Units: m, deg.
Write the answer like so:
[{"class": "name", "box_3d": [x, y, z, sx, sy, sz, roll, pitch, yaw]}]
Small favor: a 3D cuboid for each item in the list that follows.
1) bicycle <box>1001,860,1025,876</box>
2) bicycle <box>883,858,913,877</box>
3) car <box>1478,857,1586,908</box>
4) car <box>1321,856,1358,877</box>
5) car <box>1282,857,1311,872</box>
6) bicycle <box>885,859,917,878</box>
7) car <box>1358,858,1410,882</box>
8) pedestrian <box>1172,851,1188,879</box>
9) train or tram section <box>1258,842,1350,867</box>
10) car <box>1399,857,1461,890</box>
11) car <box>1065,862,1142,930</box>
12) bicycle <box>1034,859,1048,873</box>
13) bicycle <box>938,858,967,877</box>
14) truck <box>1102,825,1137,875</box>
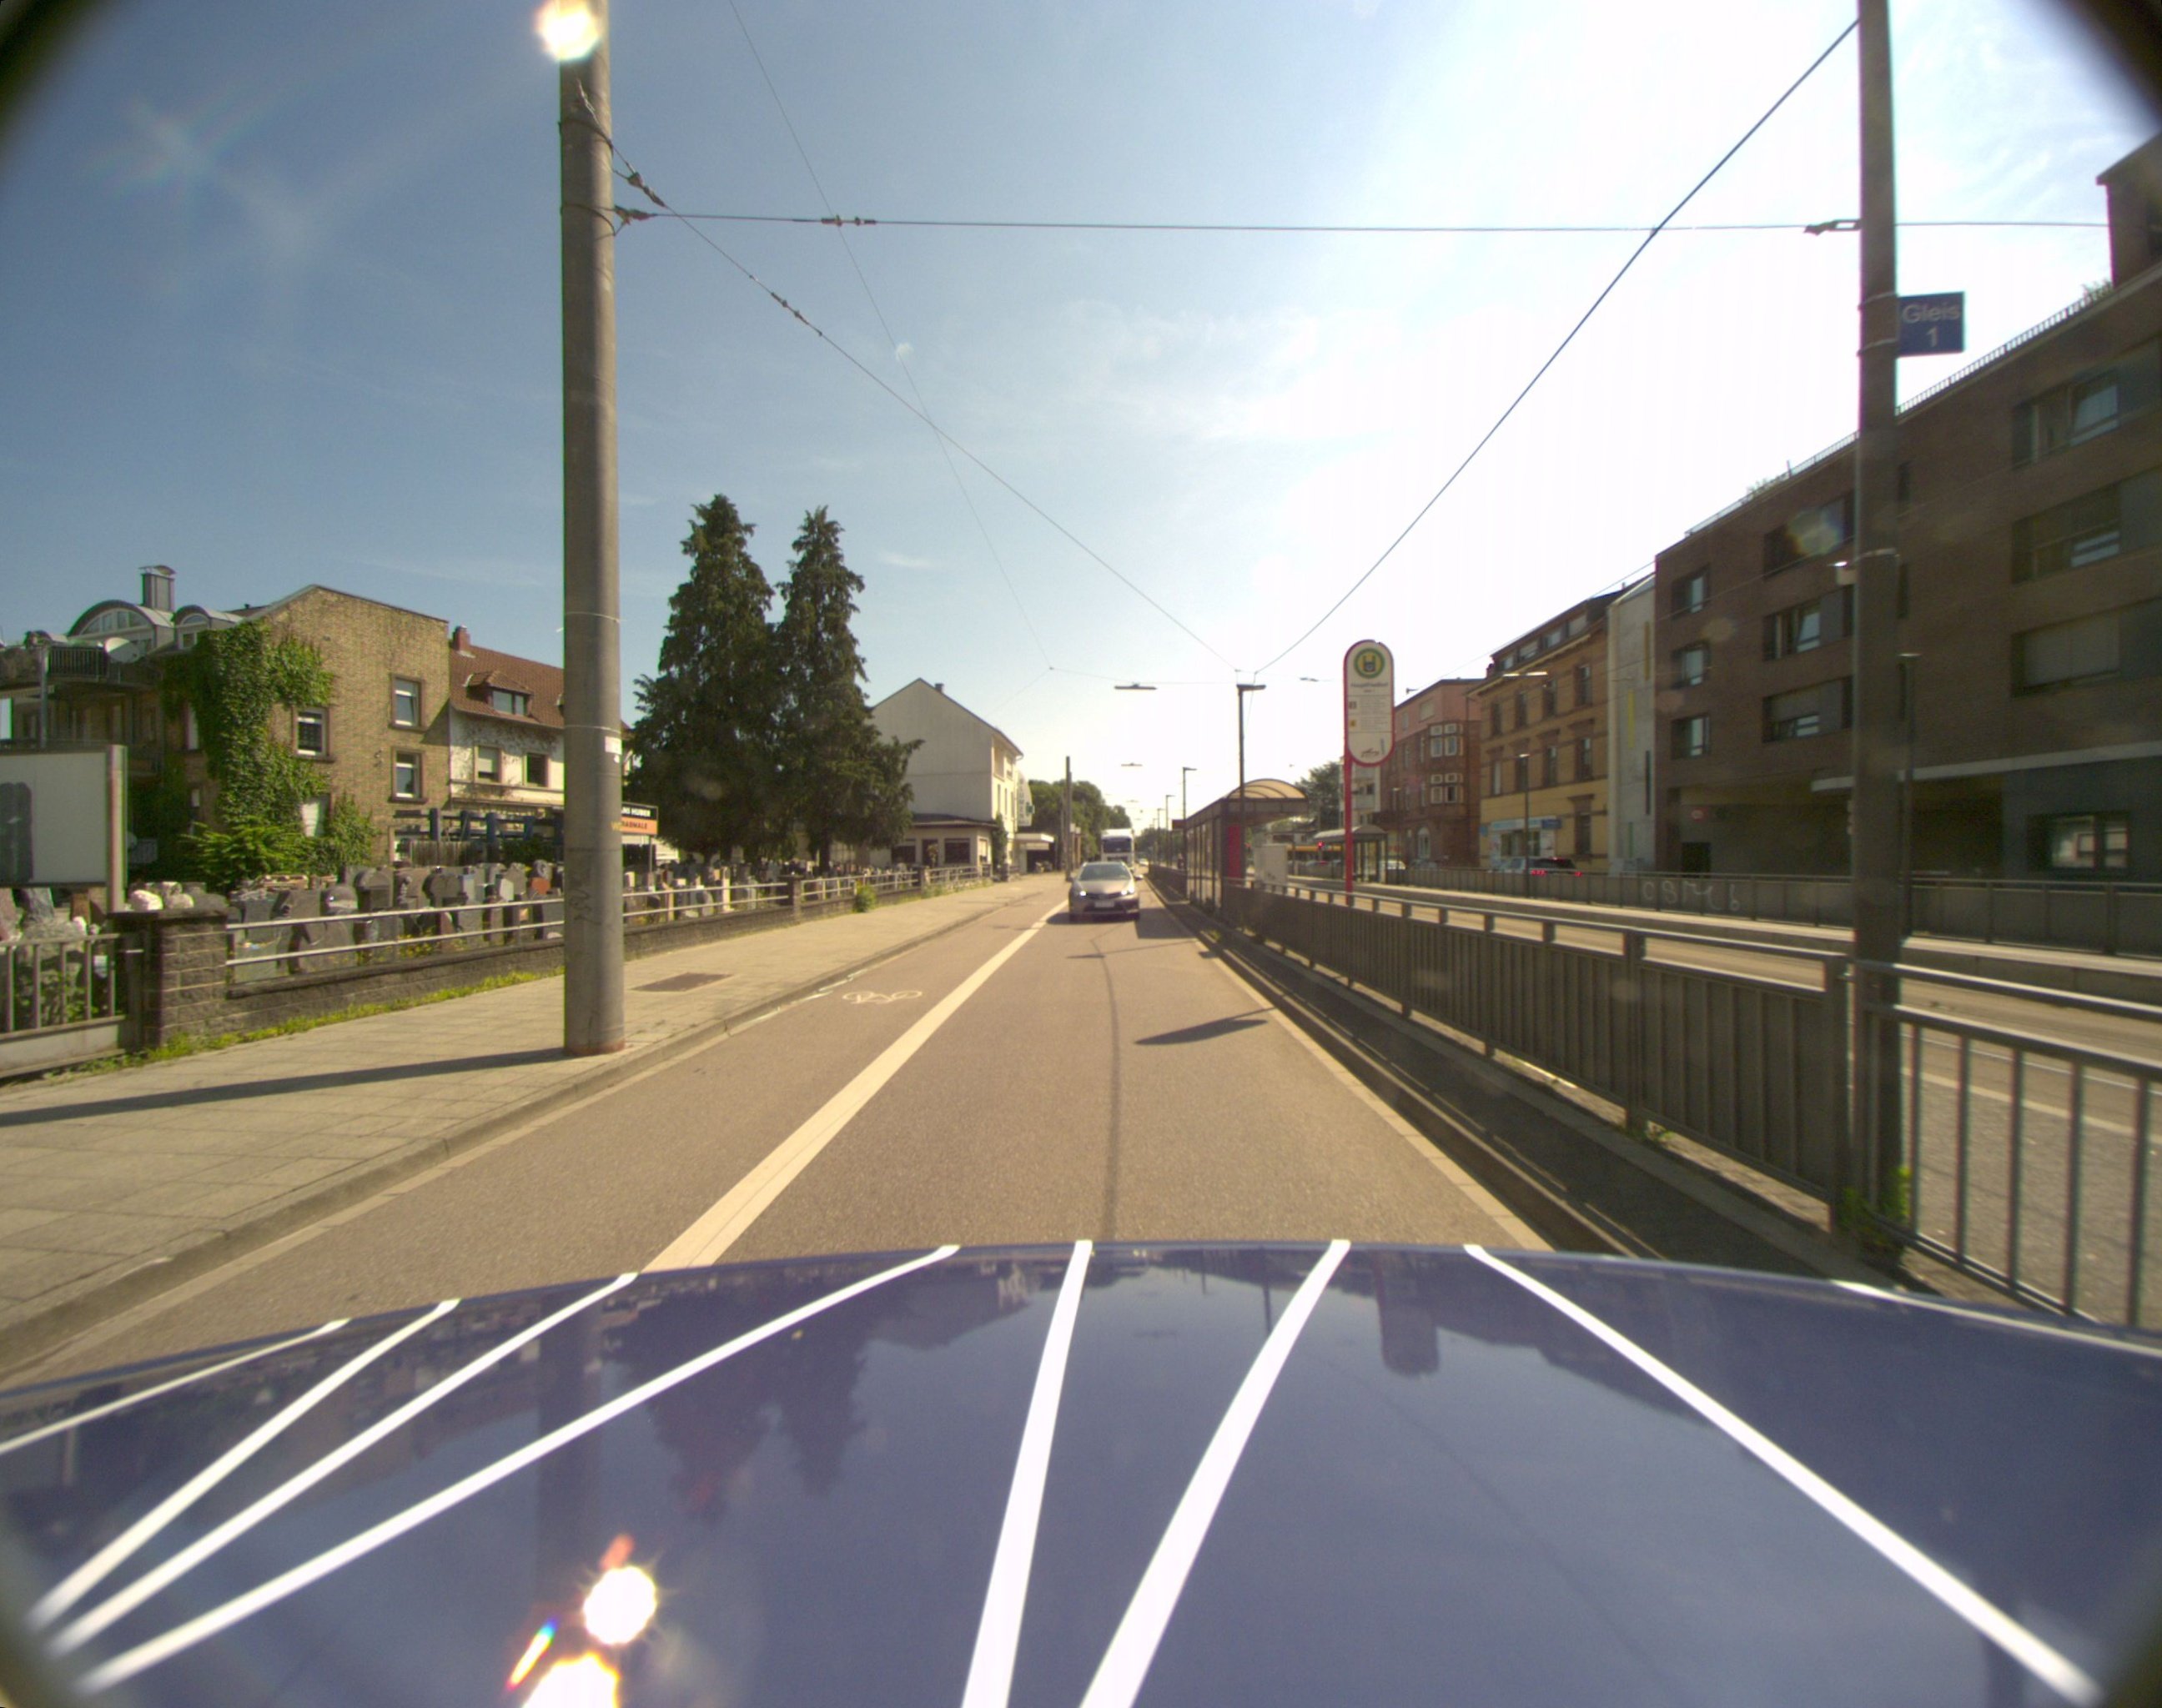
[{"class": "bicycle", "box_3d": [-4.683, 0.949, 52.075, 1.530, 1.051, 0.398, 3, 1, 5]}, {"class": "bicycle", "box_3d": [-11.087, 0.836, 46.105, 1.688, 1.104, 0.512, 1, 0, 5]}, {"class": "car", "box_3d": [17.041, 1.020, 28.950, 1.805, 1.718, 4.190, -2, 0, 4]}, {"class": "car", "box_3d": [18.960, 0.936, 55.948, 1.629, 1.460, 3.867, -1, -1, 4]}, {"class": "car", "box_3d": [20.107, 0.944, 70.967, 1.716, 1.236, 4.080, -2, 0, 3]}, {"class": "bicycle", "box_3d": [-10.661, 0.838, 45.020, 1.795, 1.104, 0.512, 1, 0, 8]}, {"class": "car", "box_3d": [18.787, 0.944, 47.246, 1.635, 1.355, 4.522, 0, 0, 3]}, {"class": "pedestrian", "box_3d": [6.653, 0.722, 51.281, 0.983, 1.847, 1.238, 0, 0, 4]}, {"class": "train or tram section", "box_3d": [31.901, 0.004, 108.531, 13.346, 3.460, 2.684, 0, 1, -16]}, {"class": "car", "box_3d": [17.975, 0.966, 39.312, 1.716, 1.613, 3.580, -1, 0, 4]}, {"class": "car", "box_3d": [0.647, 0.956, 19.097, 1.695, 1.440, 4.482, -1, 0, 4]}, {"class": "bicycle", "box_3d": [-3.336, 1.001, 63.219, 0.511, 1.127, 1.693, 0, 0, 21]}, {"class": "bicycle", "box_3d": [-7.683, 0.794, 45.407, 1.686, 1.104, 0.515, 1, 0, 29]}, {"class": "truck", "box_3d": [3.193, -0.296, 61.519, 2.656, 3.772, 7.865, 0, 0, 4]}]
